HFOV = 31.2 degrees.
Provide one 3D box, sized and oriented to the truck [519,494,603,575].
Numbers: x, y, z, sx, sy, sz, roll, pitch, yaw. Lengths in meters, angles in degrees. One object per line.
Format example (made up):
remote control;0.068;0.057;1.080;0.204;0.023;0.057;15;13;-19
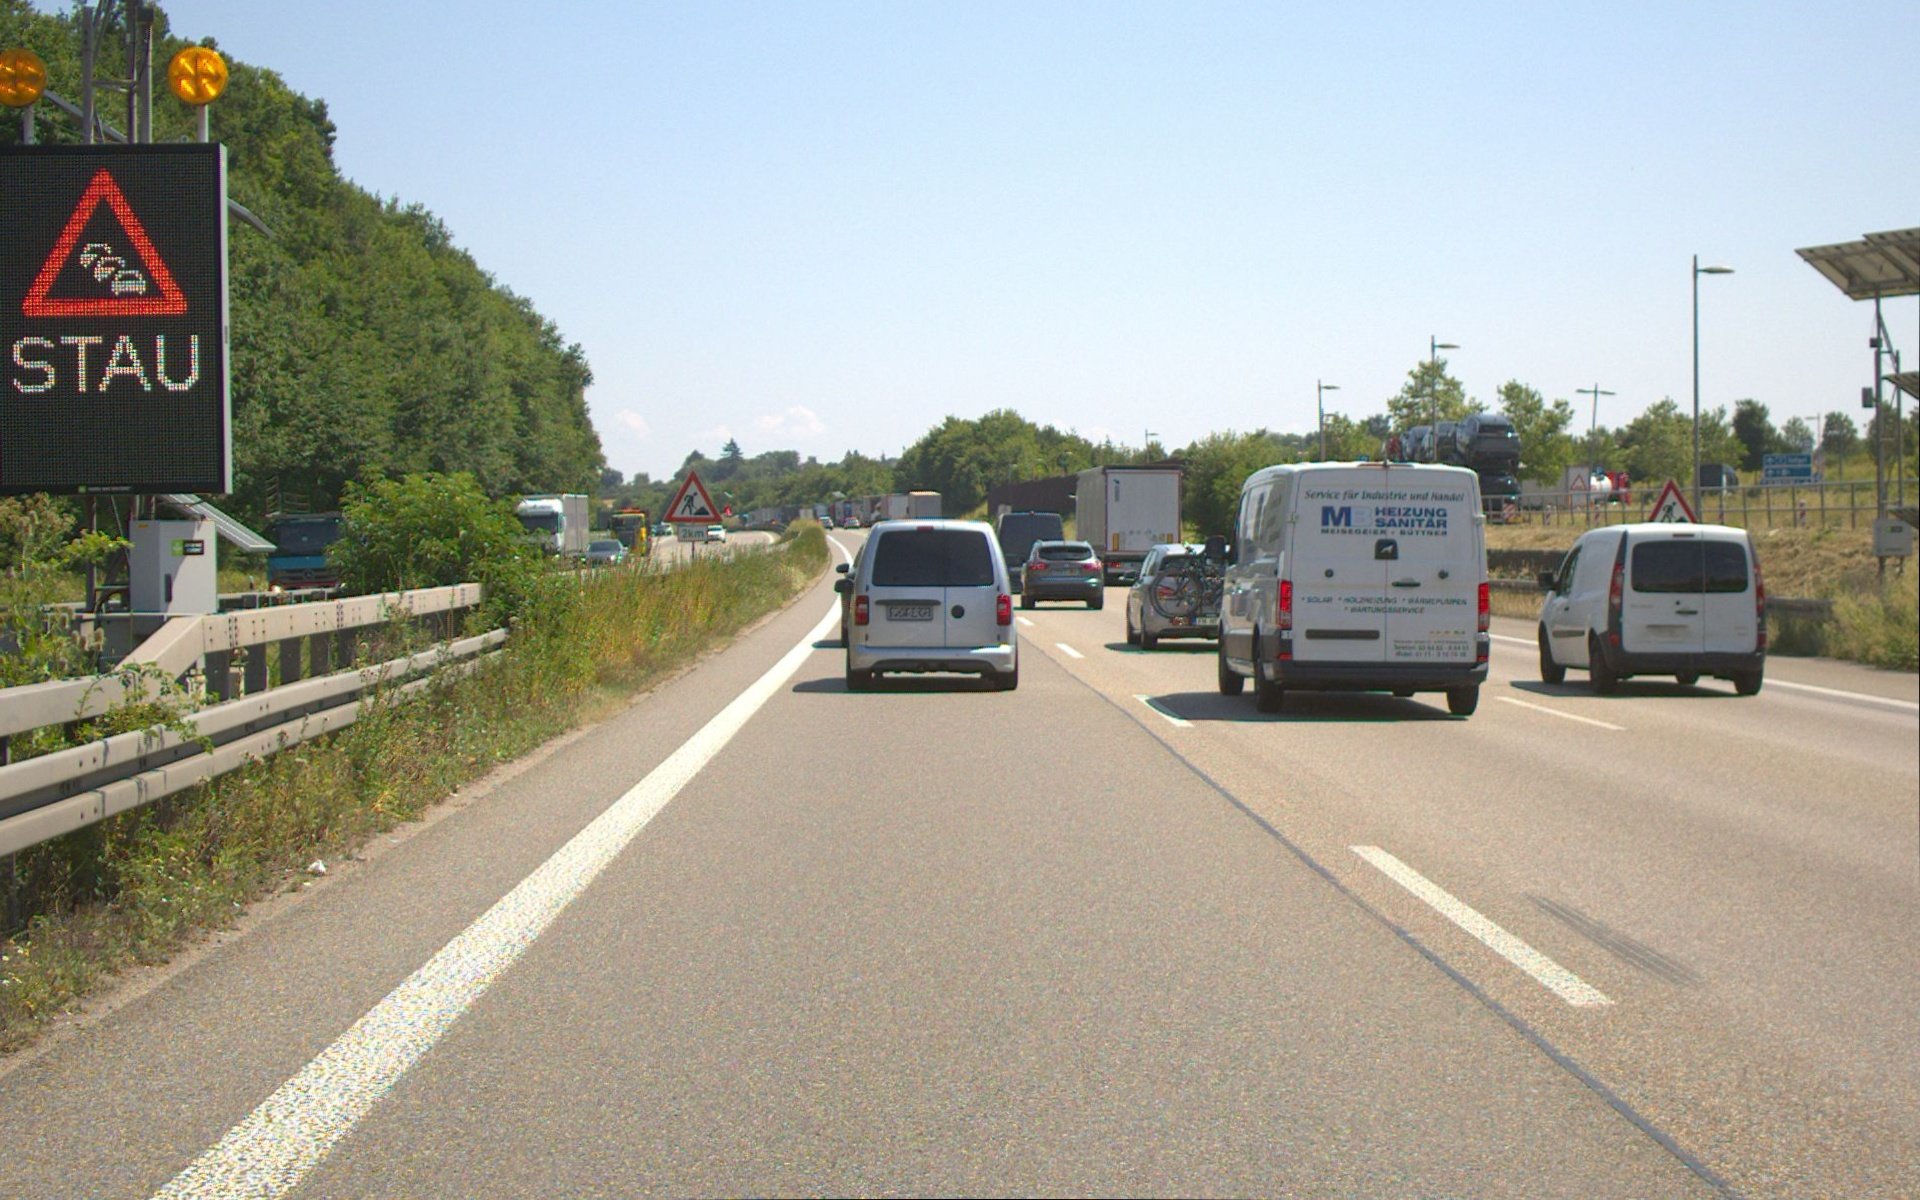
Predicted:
truck;-20.595;-3.376;178.225;3.453;3.980;11.125;-1;1;-2

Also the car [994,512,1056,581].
car;1.815;-1.508;96.943;1.674;1.885;4.088;-1;1;0

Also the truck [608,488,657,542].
truck;-23.860;-6.170;250.883;2.782;3.726;11.159;1;1;-2

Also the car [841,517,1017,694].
car;-0.303;0.032;36.820;1.745;1.758;4.088;-1;1;0

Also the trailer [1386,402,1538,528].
trailer;18.961;-4.986;131.299;2.605;4.243;18.423;1;1;-1

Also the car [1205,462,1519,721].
car;3.702;-0.107;32.675;2.181;2.246;5.364;0;1;-2

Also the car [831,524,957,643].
car;-0.955;-0.262;51.789;1.745;1.695;4.088;-1;1;1

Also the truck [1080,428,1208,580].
truck;6.311;-3.236;120.075;3.788;4.982;12.519;1;1;0

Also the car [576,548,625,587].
car;-16.131;-1.475;154.529;1.724;1.650;4.861;-3;1;-1

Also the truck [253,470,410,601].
truck;-19.250;-1.976;106.000;2.996;3.789;10.790;-1;1;-1

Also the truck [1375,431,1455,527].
truck;18.728;-4.957;141.653;2.602;3.814;4.000;1;1;-1

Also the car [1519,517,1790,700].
car;7.453;0.061;37.297;1.950;1.831;4.179;-1;1;-2

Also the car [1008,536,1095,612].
car;2.087;-0.605;79.494;1.902;1.666;4.088;-1;1;0

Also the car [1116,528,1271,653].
car;3.364;-0.159;50.280;1.976;1.727;4.088;-1;1;0
